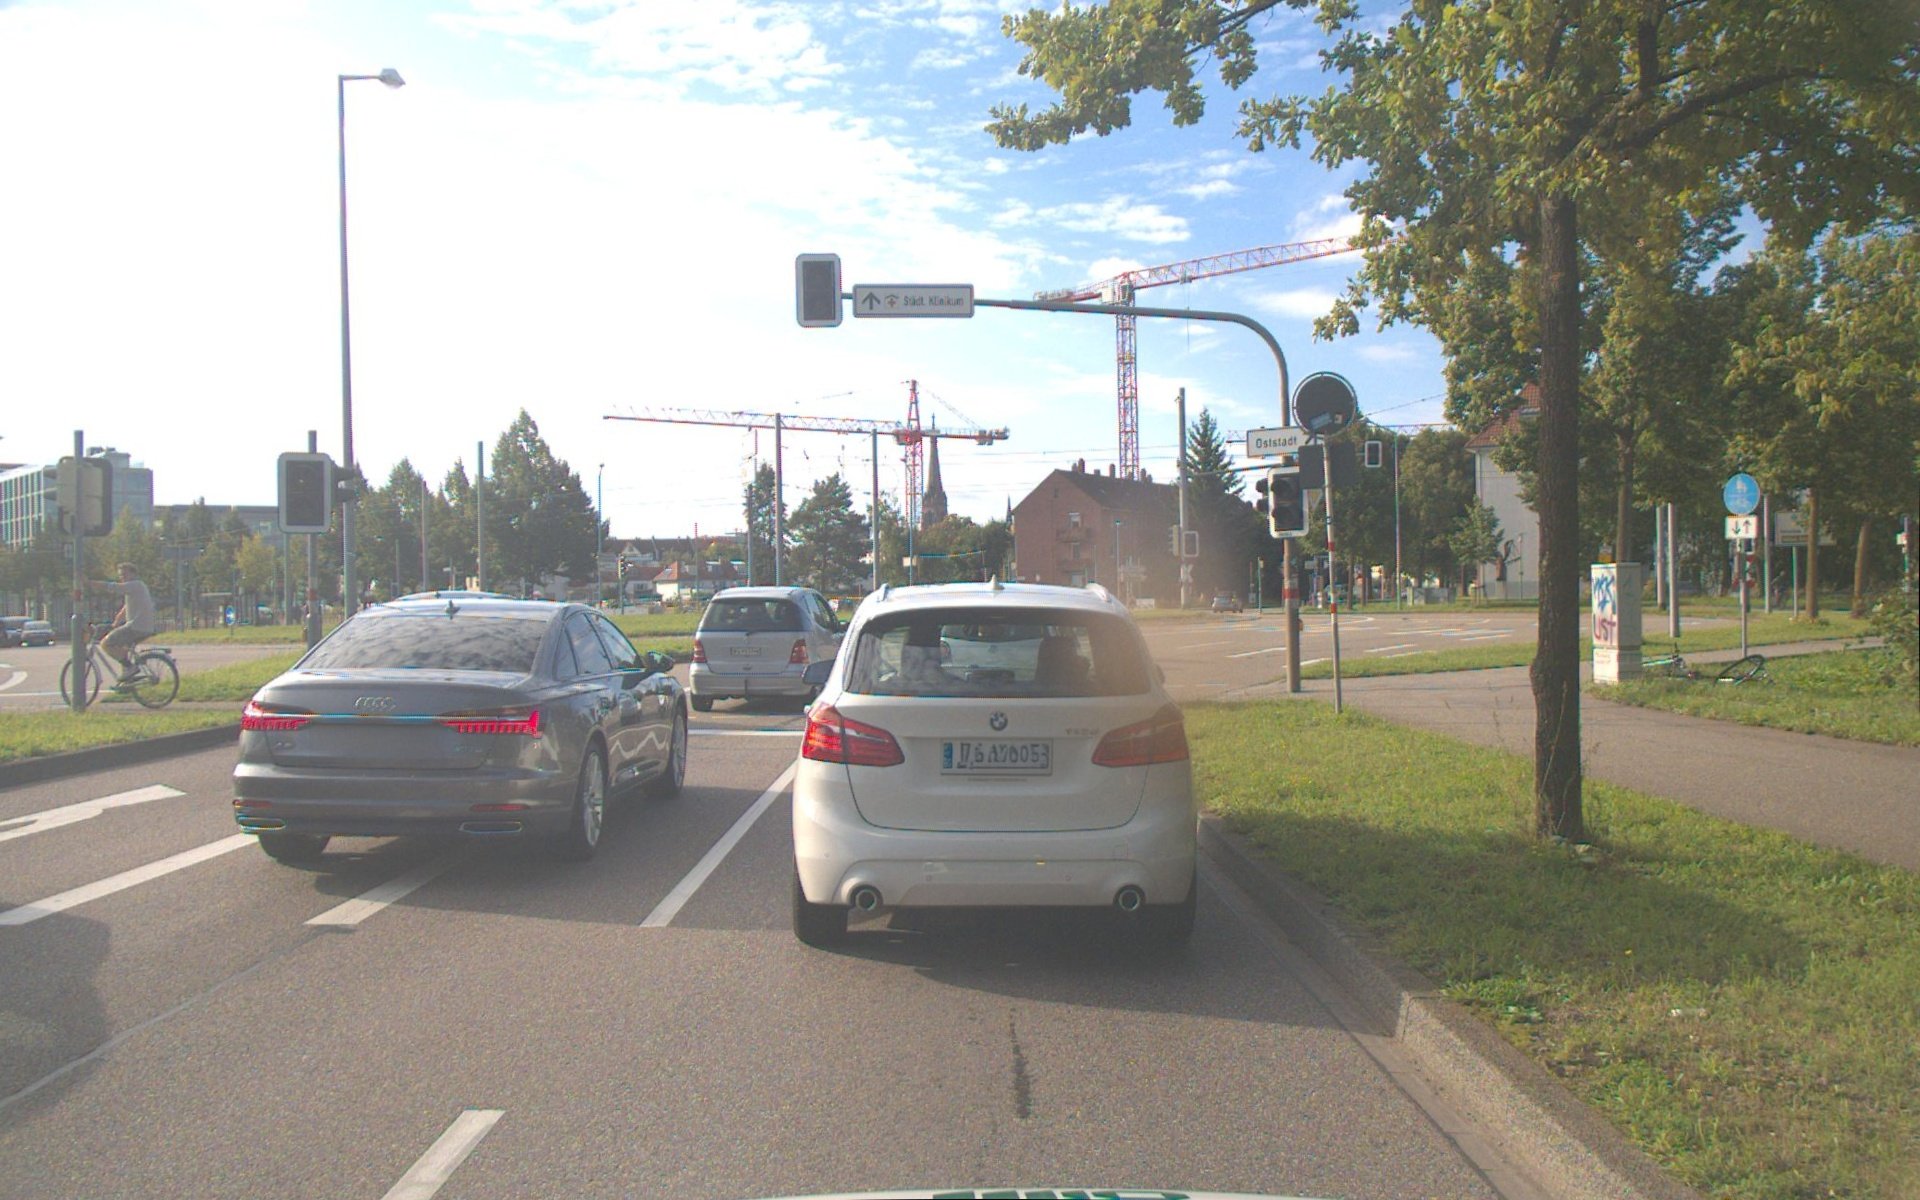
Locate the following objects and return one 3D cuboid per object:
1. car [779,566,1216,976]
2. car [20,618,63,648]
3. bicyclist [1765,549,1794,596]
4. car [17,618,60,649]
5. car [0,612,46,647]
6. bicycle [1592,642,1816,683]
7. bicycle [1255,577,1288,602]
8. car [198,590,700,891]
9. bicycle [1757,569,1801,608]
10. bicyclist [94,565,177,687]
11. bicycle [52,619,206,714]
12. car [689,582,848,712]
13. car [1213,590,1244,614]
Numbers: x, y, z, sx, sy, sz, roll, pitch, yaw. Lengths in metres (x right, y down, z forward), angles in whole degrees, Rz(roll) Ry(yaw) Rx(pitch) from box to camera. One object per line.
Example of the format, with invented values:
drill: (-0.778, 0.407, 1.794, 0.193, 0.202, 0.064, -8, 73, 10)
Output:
car: (0.115, 0.659, 8.453, 1.694, 1.585, 4.057, 0, 0, -1)
car: (-48.355, 1.740, 87.106, 1.570, 1.440, 3.644, -1, -2, -23)
bicyclist: (36.158, -1.217, 72.958, 0.822, 2.049, 1.143, 0, 0, 9)
car: (-53.796, 1.941, 96.508, 1.695, 1.721, 3.948, -1, 0, -37)
car: (-45.126, 1.409, 79.051, 1.759, 1.602, 3.979, -1, 0, -18)
bicycle: (9.478, 0.782, 21.231, 1.382, 0.392, 2.569, -1, 0, -12)
bicycle: (20.174, -0.688, 107.169, 0.884, 1.557, 2.266, 2, -1, -30)
car: (-2.926, 0.717, 10.619, 1.851, 1.509, 4.612, 0, 0, -1)
bicycle: (36.195, -0.510, 73.149, 1.020, 1.691, 2.498, 1, 0, 9)
bicyclist: (-10.817, 0.334, 21.723, 0.835, 1.553, 0.737, -1, 0, -17)
bicycle: (-10.874, 0.855, 21.699, 1.698, 1.184, 0.653, -1, 0, -17)
car: (-2.485, 0.568, 22.295, 1.694, 1.585, 4.057, 0, 0, -1)
car: (19.278, 0.119, 118.843, 1.537, 1.601, 3.199, 2, 2, 21)
